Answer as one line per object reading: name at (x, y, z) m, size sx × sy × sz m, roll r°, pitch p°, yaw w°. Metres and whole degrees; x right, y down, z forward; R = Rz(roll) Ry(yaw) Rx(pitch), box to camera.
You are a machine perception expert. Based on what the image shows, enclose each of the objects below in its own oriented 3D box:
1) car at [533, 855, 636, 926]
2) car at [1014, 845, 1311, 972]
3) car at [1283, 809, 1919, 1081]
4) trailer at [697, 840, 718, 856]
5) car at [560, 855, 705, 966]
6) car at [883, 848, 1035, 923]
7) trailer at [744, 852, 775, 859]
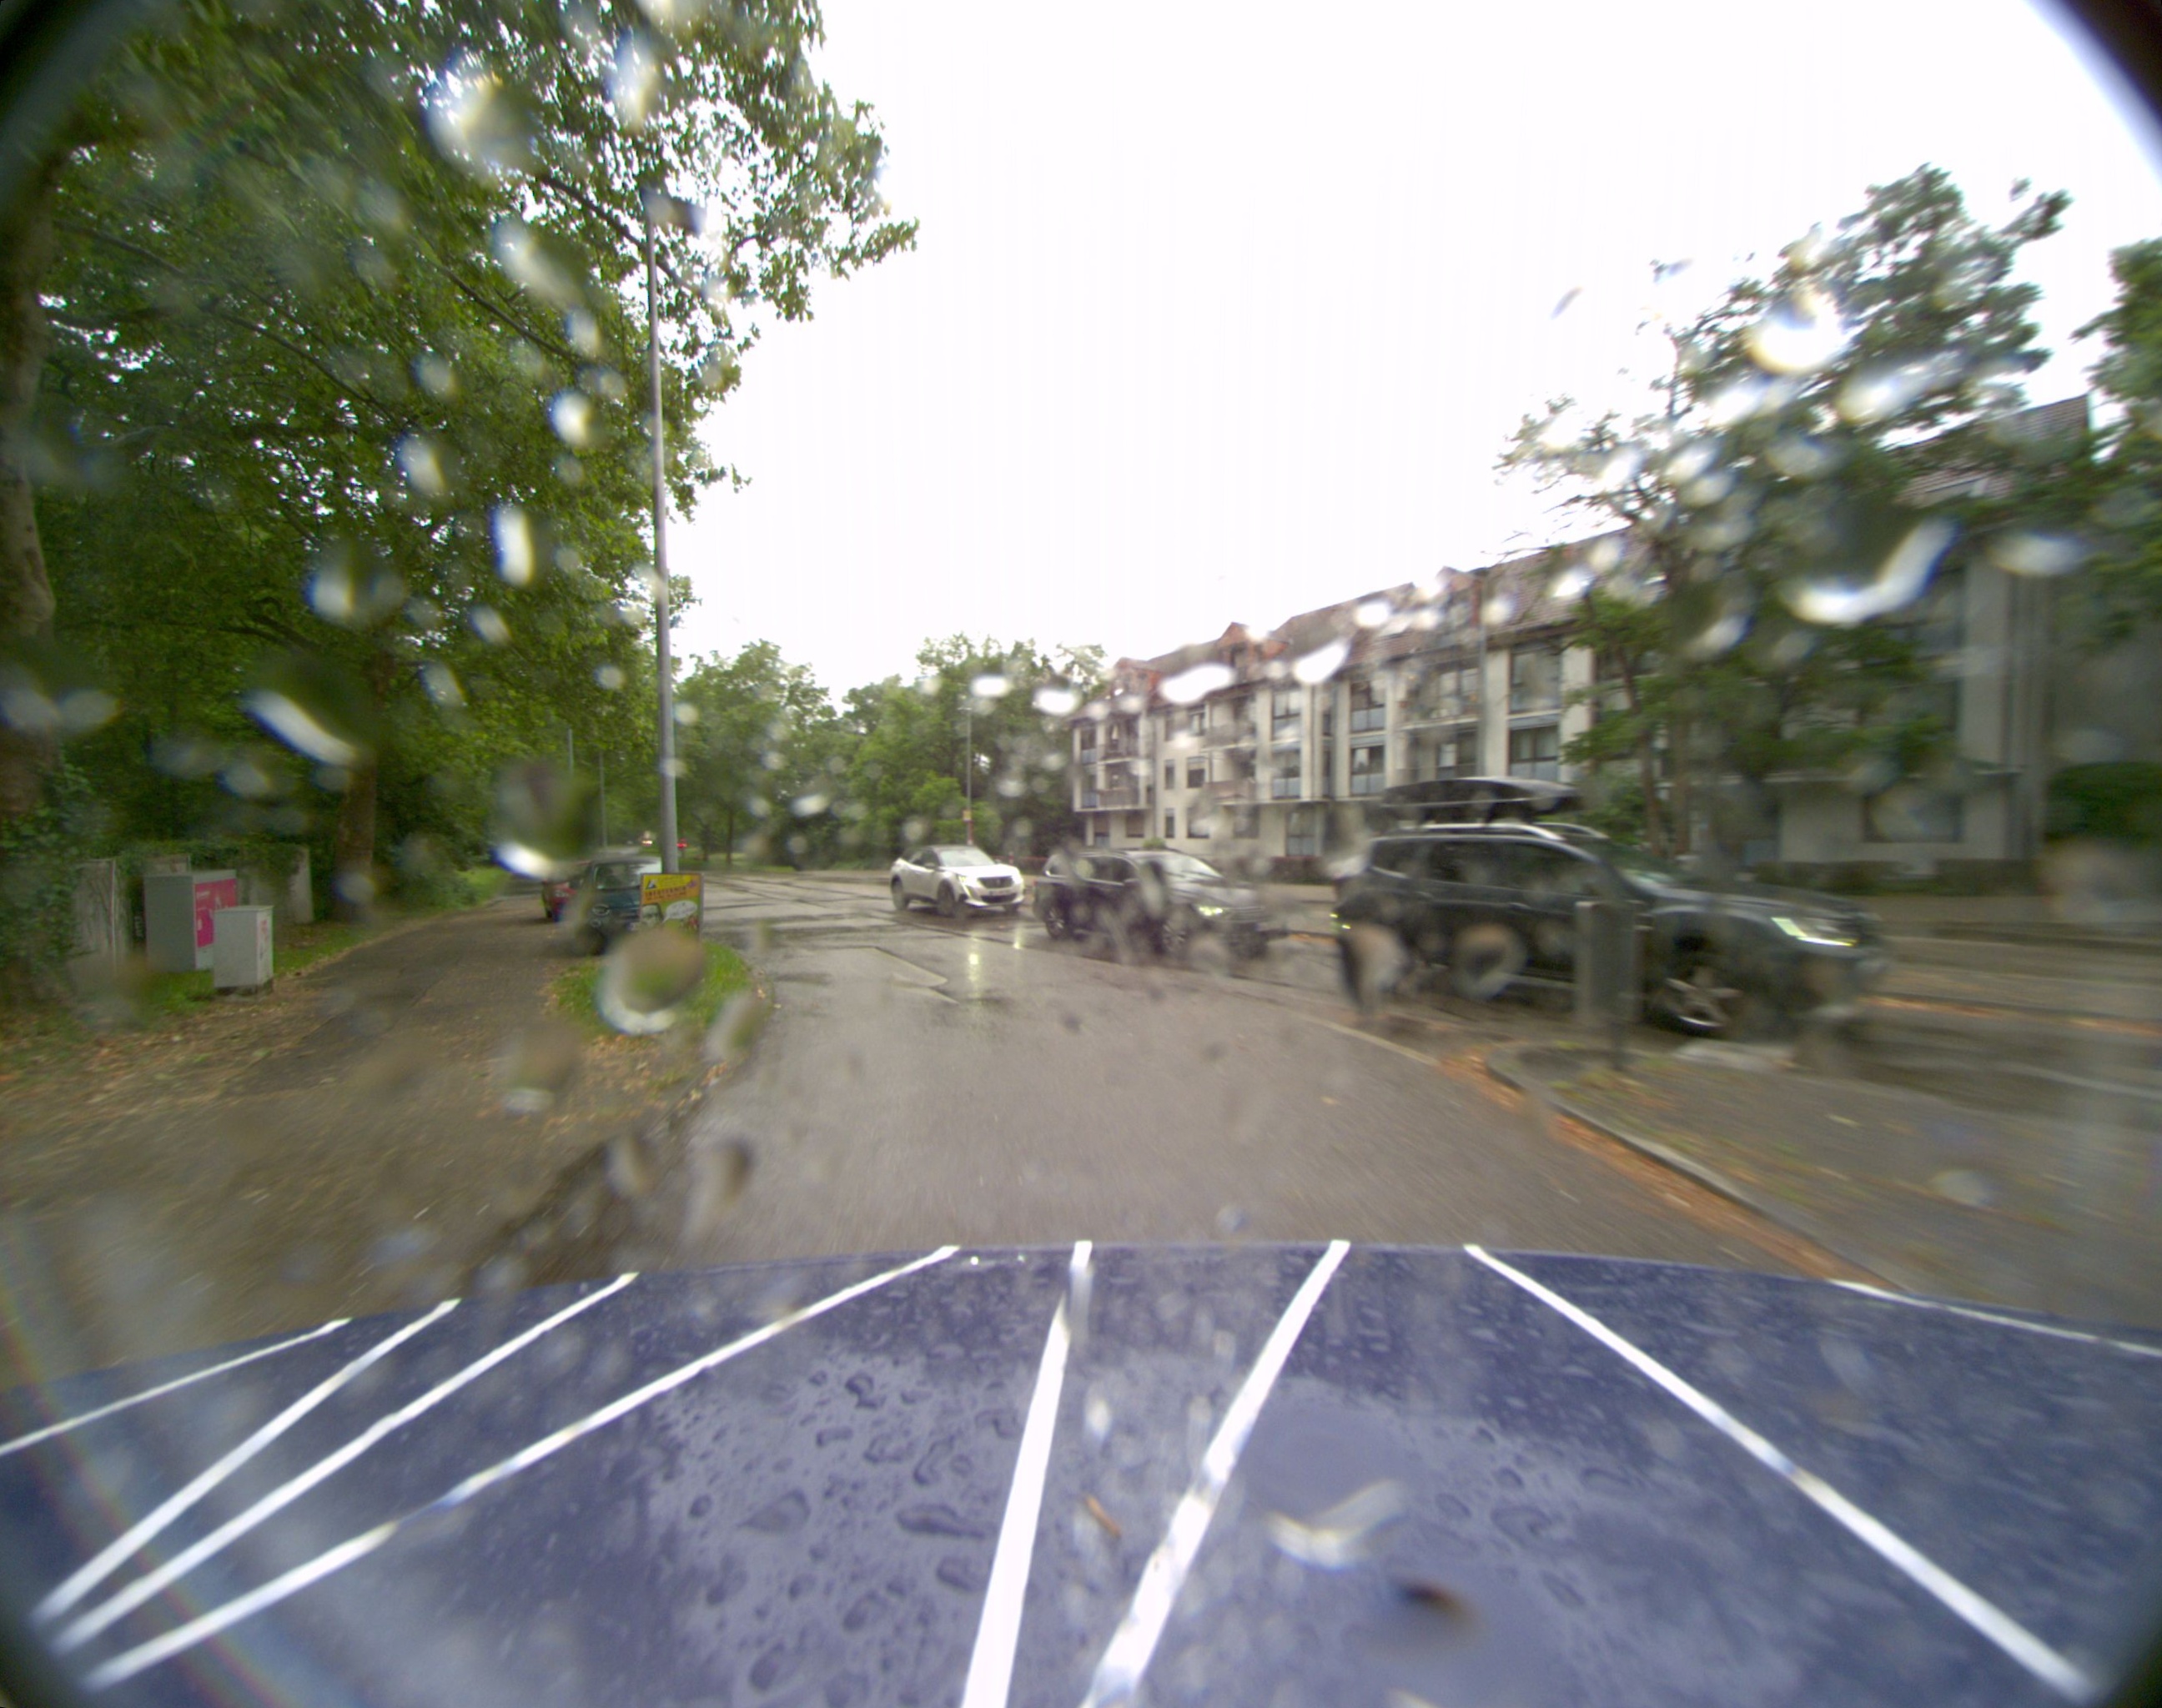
car at (-13.622, 0.936, 20.745) m, size 1.827 × 1.510 × 3.733 m, roll -11°, pitch 5°, yaw -38°
car at (1.006, 0.684, 11.713) m, size 1.840 × 1.448 × 4.646 m, roll -5°, pitch 2°, yaw -36°
car at (4.363, 0.563, 7.143) m, size 1.769 × 1.701 × 4.588 m, roll -4°, pitch 2°, yaw -37°
trailer at (-67.191, -1.131, 136.568) m, size 2.812 × 2.649 × 6.634 m, roll 0°, pitch 2°, yaw -31°
car at (-7.879, 0.842, 13.199) m, size 1.757 × 1.484 × 3.589 m, roll -5°, pitch 4°, yaw -36°
car at (-2.993, 0.622, 17.882) m, size 1.761 × 1.527 × 4.355 m, roll -1°, pitch 1°, yaw -36°
trailer at (-52.646, 0.190, 124.496) m, size 4.338 × 1.026 × 2.375 m, roll -1°, pitch 2°, yaw -33°
